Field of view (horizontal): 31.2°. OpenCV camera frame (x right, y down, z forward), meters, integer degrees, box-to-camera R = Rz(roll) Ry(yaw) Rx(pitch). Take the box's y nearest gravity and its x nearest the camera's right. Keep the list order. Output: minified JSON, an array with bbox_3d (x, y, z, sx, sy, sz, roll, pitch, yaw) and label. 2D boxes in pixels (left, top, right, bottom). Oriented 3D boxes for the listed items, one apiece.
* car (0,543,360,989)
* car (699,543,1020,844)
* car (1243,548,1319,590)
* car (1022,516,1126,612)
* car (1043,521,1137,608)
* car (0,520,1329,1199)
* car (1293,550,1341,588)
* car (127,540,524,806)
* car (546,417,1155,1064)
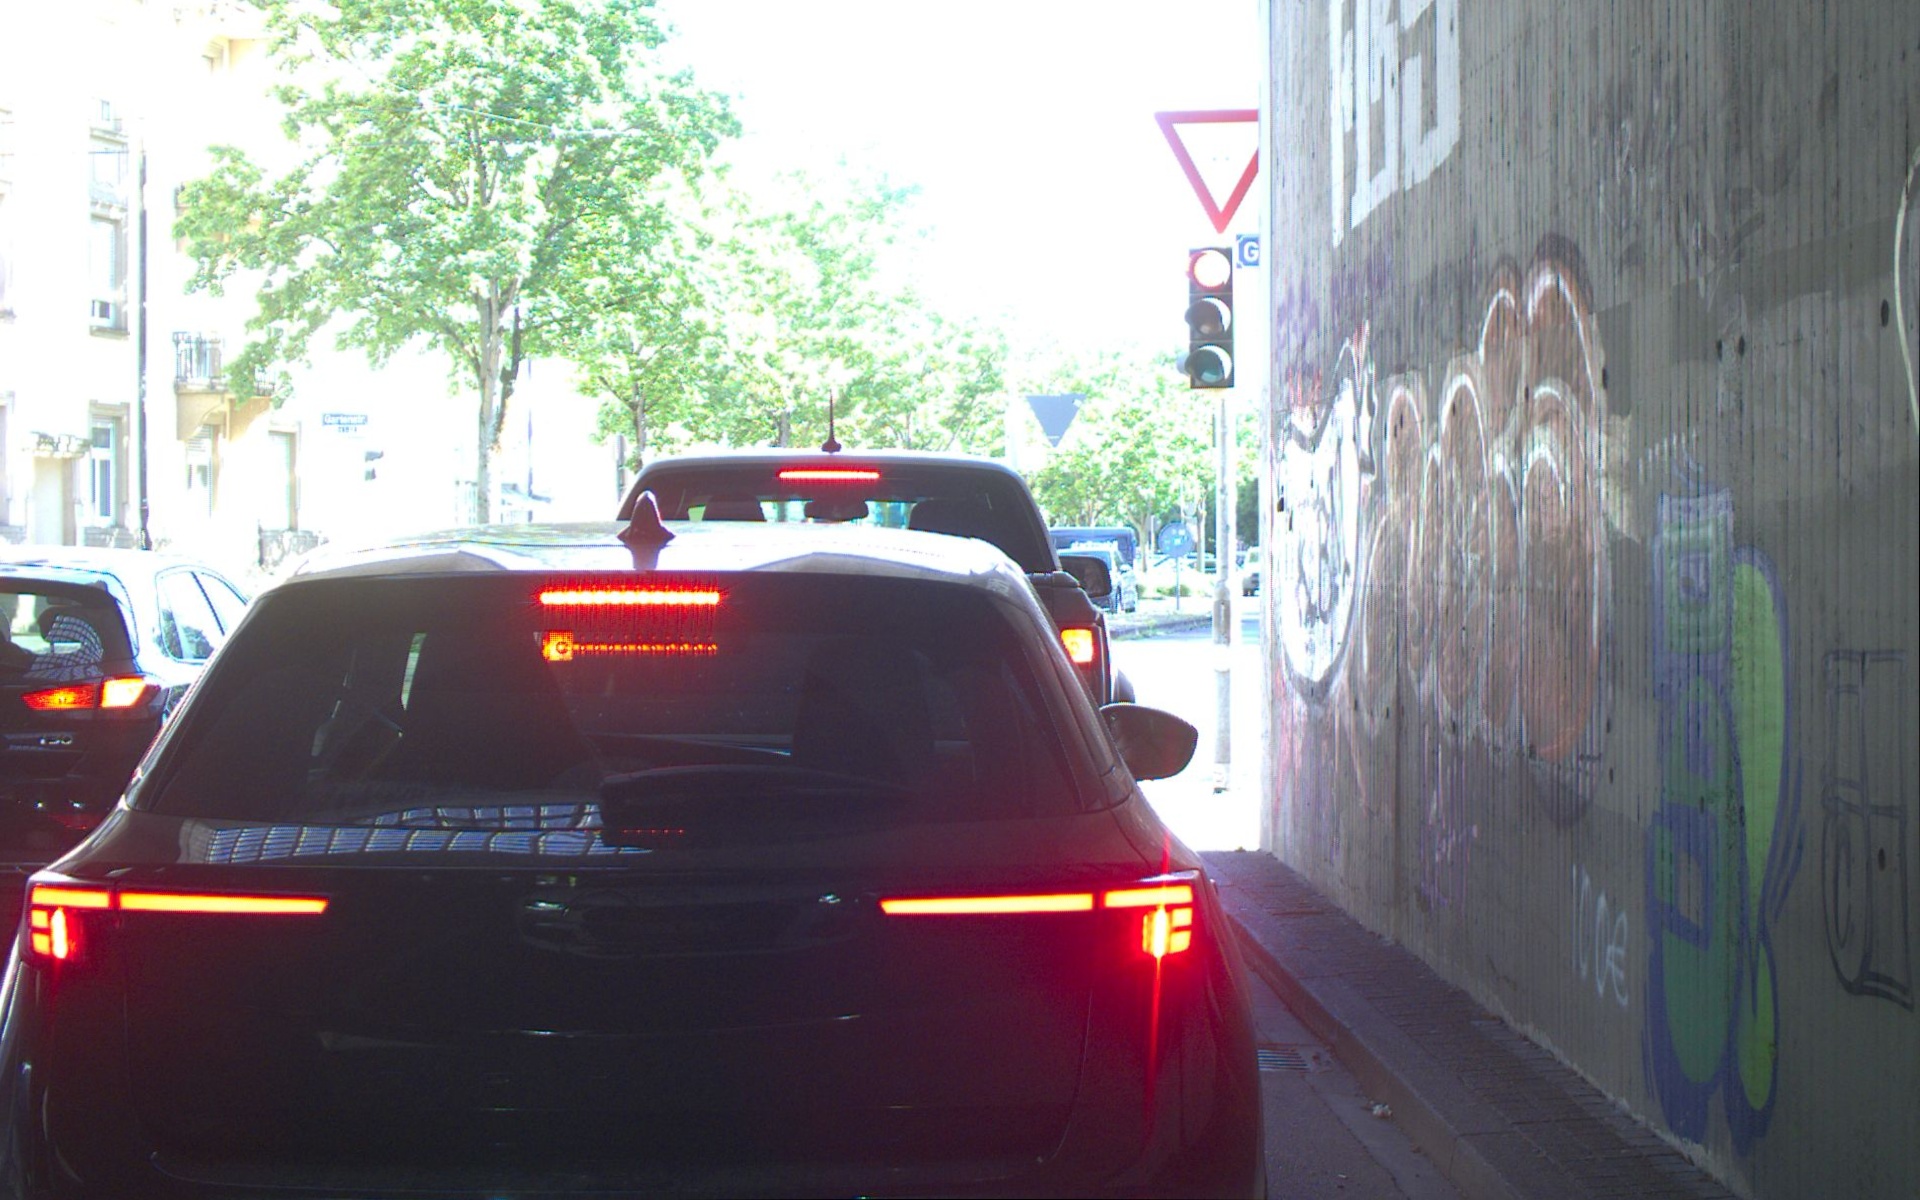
[{"bbox_3d":[-3.518,0.519,13.294,1.762,1.475,3.844,0,1,-1],"label":"car"},{"bbox_3d":[-0.526,0.436,19.266,1.609,1.508,4.054,0,1,-1],"label":"car"},{"bbox_3d":[13.056,-1.238,139.611,1.819,1.661,4.810,1,1,21],"label":"car"},{"bbox_3d":[2.086,-0.655,62.202,1.754,1.661,3.944,1,1,3],"label":"car"},{"bbox_3d":[2.607,-0.709,68.321,1.754,1.661,3.944,1,1,3],"label":"car"},{"bbox_3d":[-0.469,0.637,6.106,1.762,1.526,4.089,0,1,-1],"label":"car"},{"bbox_3d":[15.663,-1.360,150.831,1.754,1.661,3.943,1,1,11],"label":"car"},{"bbox_3d":[-3.768,0.373,21.018,1.762,1.475,3.844,0,1,-1],"label":"car"},{"bbox_3d":[-0.341,0.374,12.047,1.762,1.876,4.146,0,1,-1],"label":"car"}]
